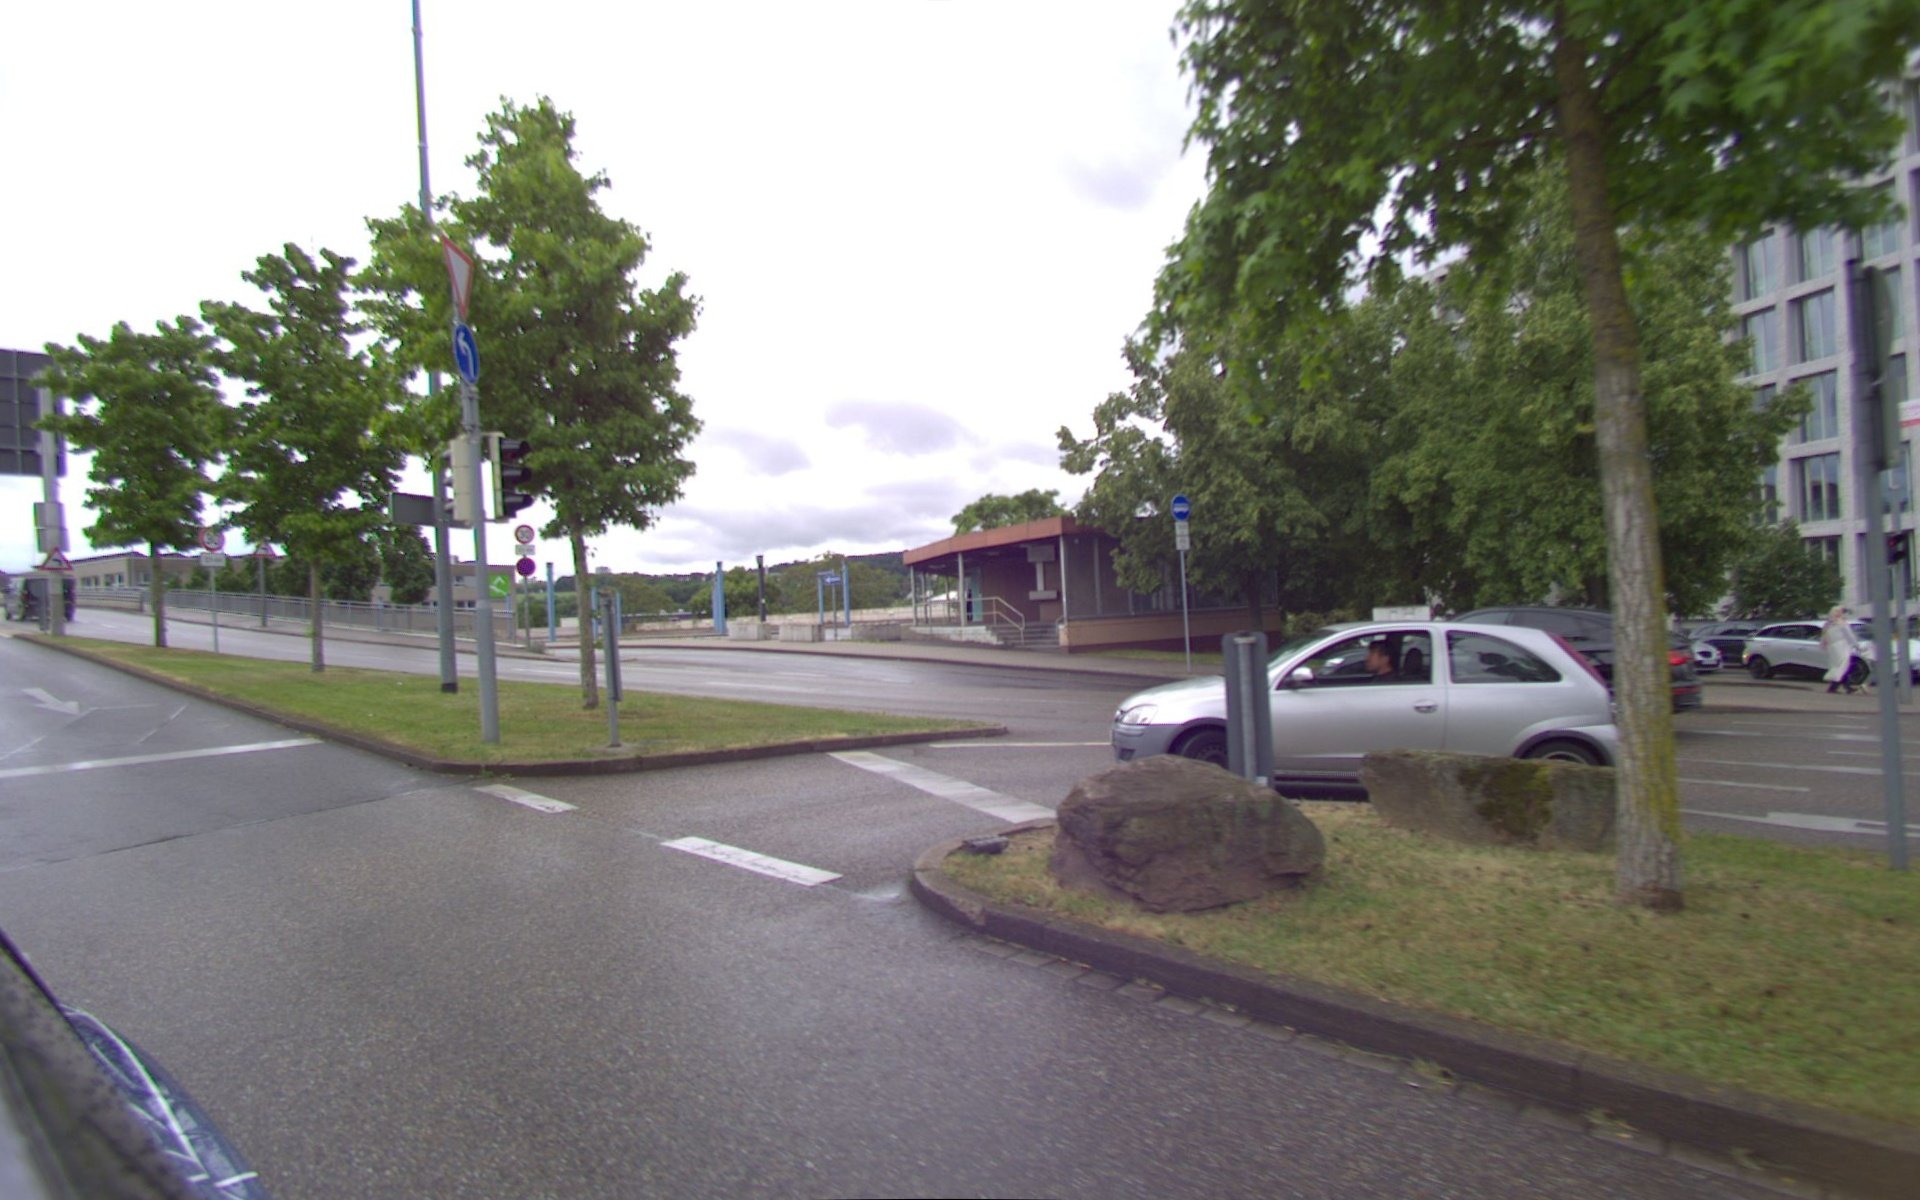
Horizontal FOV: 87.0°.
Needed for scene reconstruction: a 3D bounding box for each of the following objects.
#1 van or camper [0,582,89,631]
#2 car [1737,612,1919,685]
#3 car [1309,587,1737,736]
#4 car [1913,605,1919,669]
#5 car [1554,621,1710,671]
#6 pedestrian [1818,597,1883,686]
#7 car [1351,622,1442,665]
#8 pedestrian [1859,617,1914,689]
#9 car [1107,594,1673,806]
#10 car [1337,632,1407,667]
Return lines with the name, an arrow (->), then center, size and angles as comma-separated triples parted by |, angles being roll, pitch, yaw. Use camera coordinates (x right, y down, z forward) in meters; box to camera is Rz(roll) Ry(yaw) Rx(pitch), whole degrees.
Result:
van or camper -> -42.311, 0.266, 46.424 | 5.269, 2.088, 2.198 | 1, -1, 34
car -> 21.700, 1.128, 24.792 | 1.859, 1.580, 4.145 | -2, -1, -4
car -> 7.482, 0.665, 13.748 | 4.852, 1.674, 1.890 | 1, 1, 39
car -> 24.656, 0.838, 23.210 | 1.702, 1.580, 3.843 | -2, -1, -6
car -> 23.474, 1.573, 35.600 | 1.699, 1.580, 4.592 | -1, -1, -13
pedestrian -> 16.248, 0.744, 18.482 | 0.646, 1.582, 0.629 | 1, -1, 11
car -> 18.439, 1.815, 42.945 | 1.700, 1.711, 3.660 | -1, -1, -11
pedestrian -> 17.463, 0.986, 19.088 | 0.628, 1.302, 0.647 | 0, -1, 29
car -> 3.127, 0.738, 8.107 | 3.831, 1.459, 1.633 | -1, -2, 9
car -> 20.310, 2.418, 49.960 | 1.546, 1.564, 3.189 | -2, -1, -14
